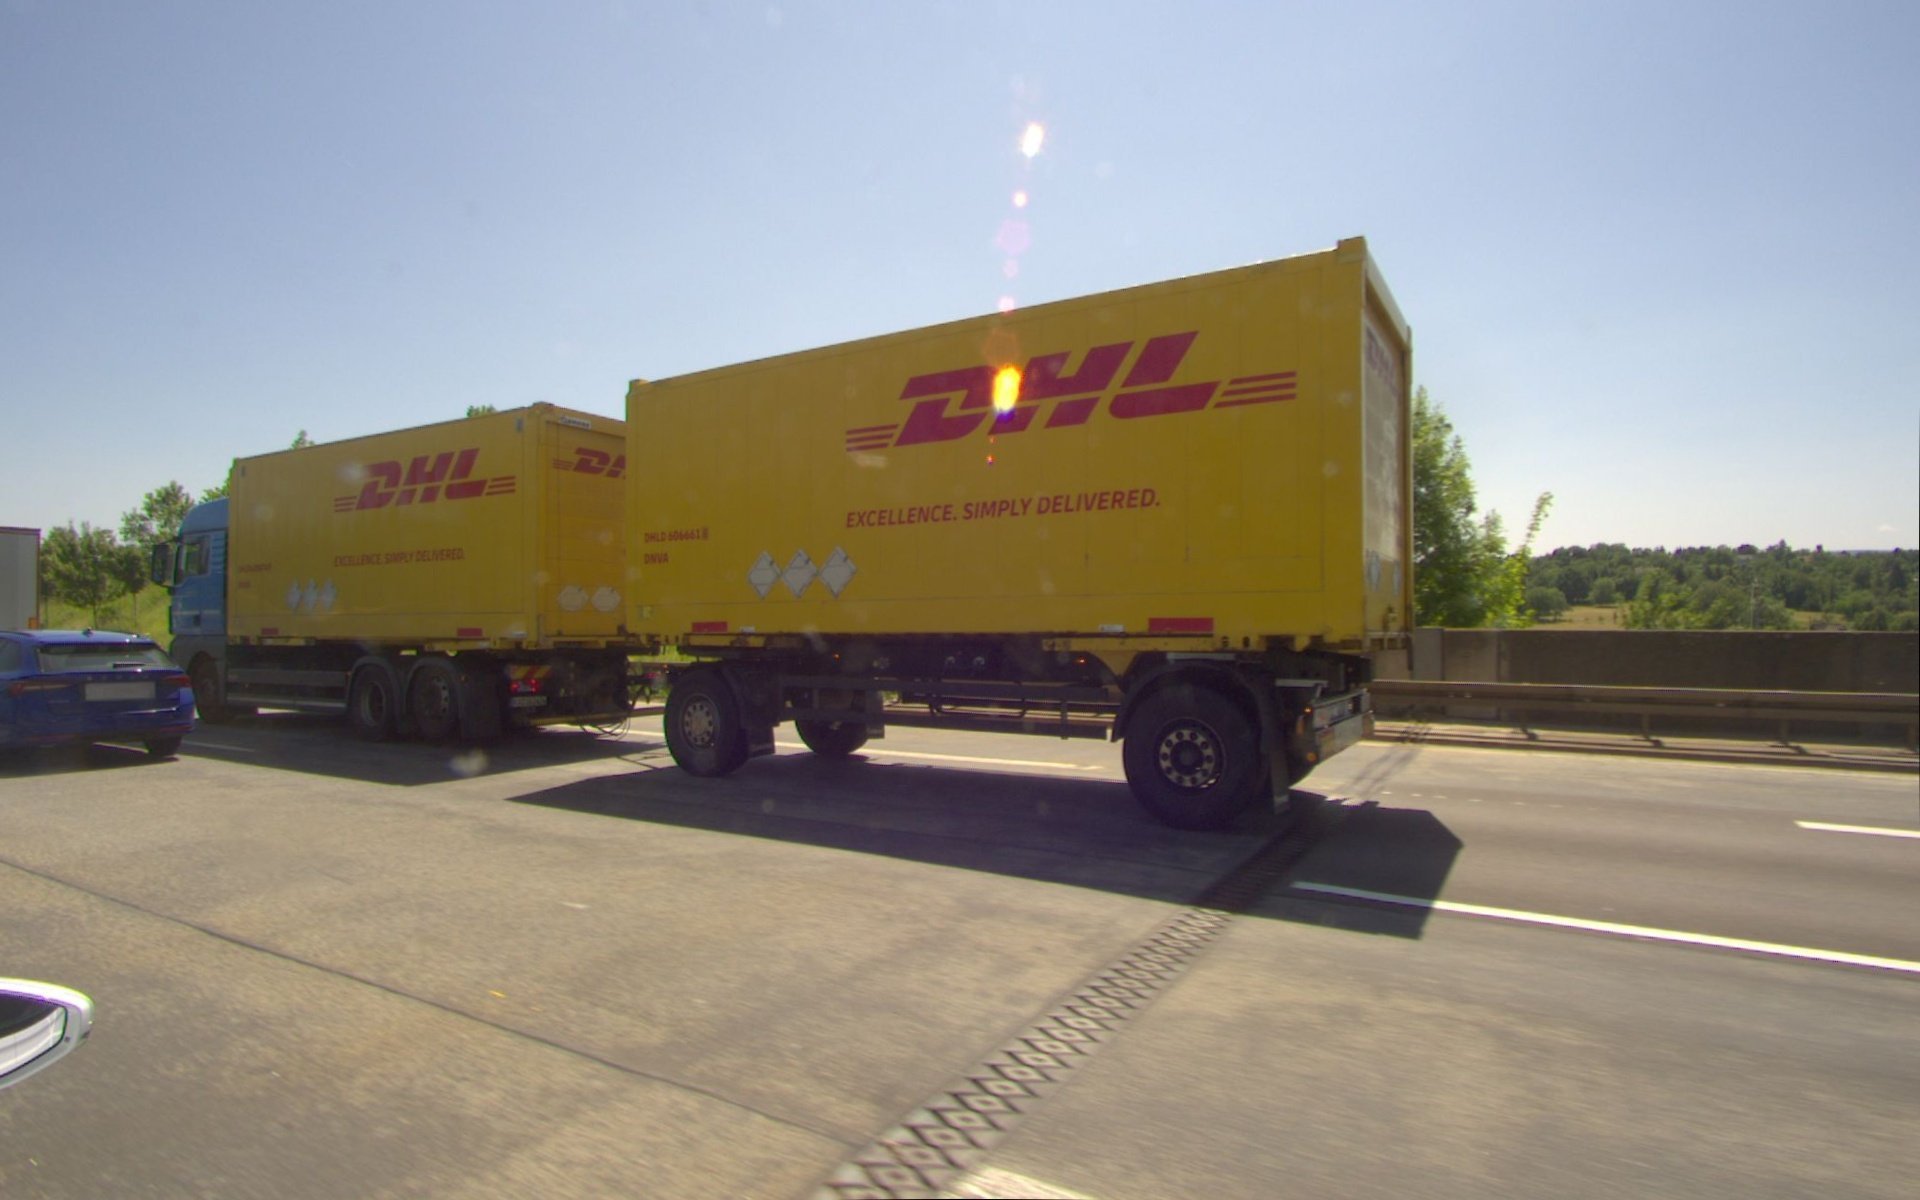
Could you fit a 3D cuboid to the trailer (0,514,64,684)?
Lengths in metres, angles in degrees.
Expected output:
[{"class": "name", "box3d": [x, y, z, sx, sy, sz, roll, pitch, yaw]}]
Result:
[{"class": "trailer", "box3d": [-29.204, 0.024, 27.556, 13.549, 4.102, 2.958, 0, -1, 31]}]

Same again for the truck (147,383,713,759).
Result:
[{"class": "truck", "box3d": [-8.234, -0.237, 14.834, 9.807, 4.162, 2.762, -1, -1, 31]}]

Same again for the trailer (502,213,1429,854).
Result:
[{"class": "trailer", "box3d": [-0.486, -0.355, 10.090, 9.239, 4.170, 2.762, -1, -1, 31]}]

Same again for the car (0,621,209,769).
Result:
[{"class": "car", "box3d": [-10.851, 1.008, 11.802, 4.363, 1.459, 1.704, -1, -2, 31]}]
